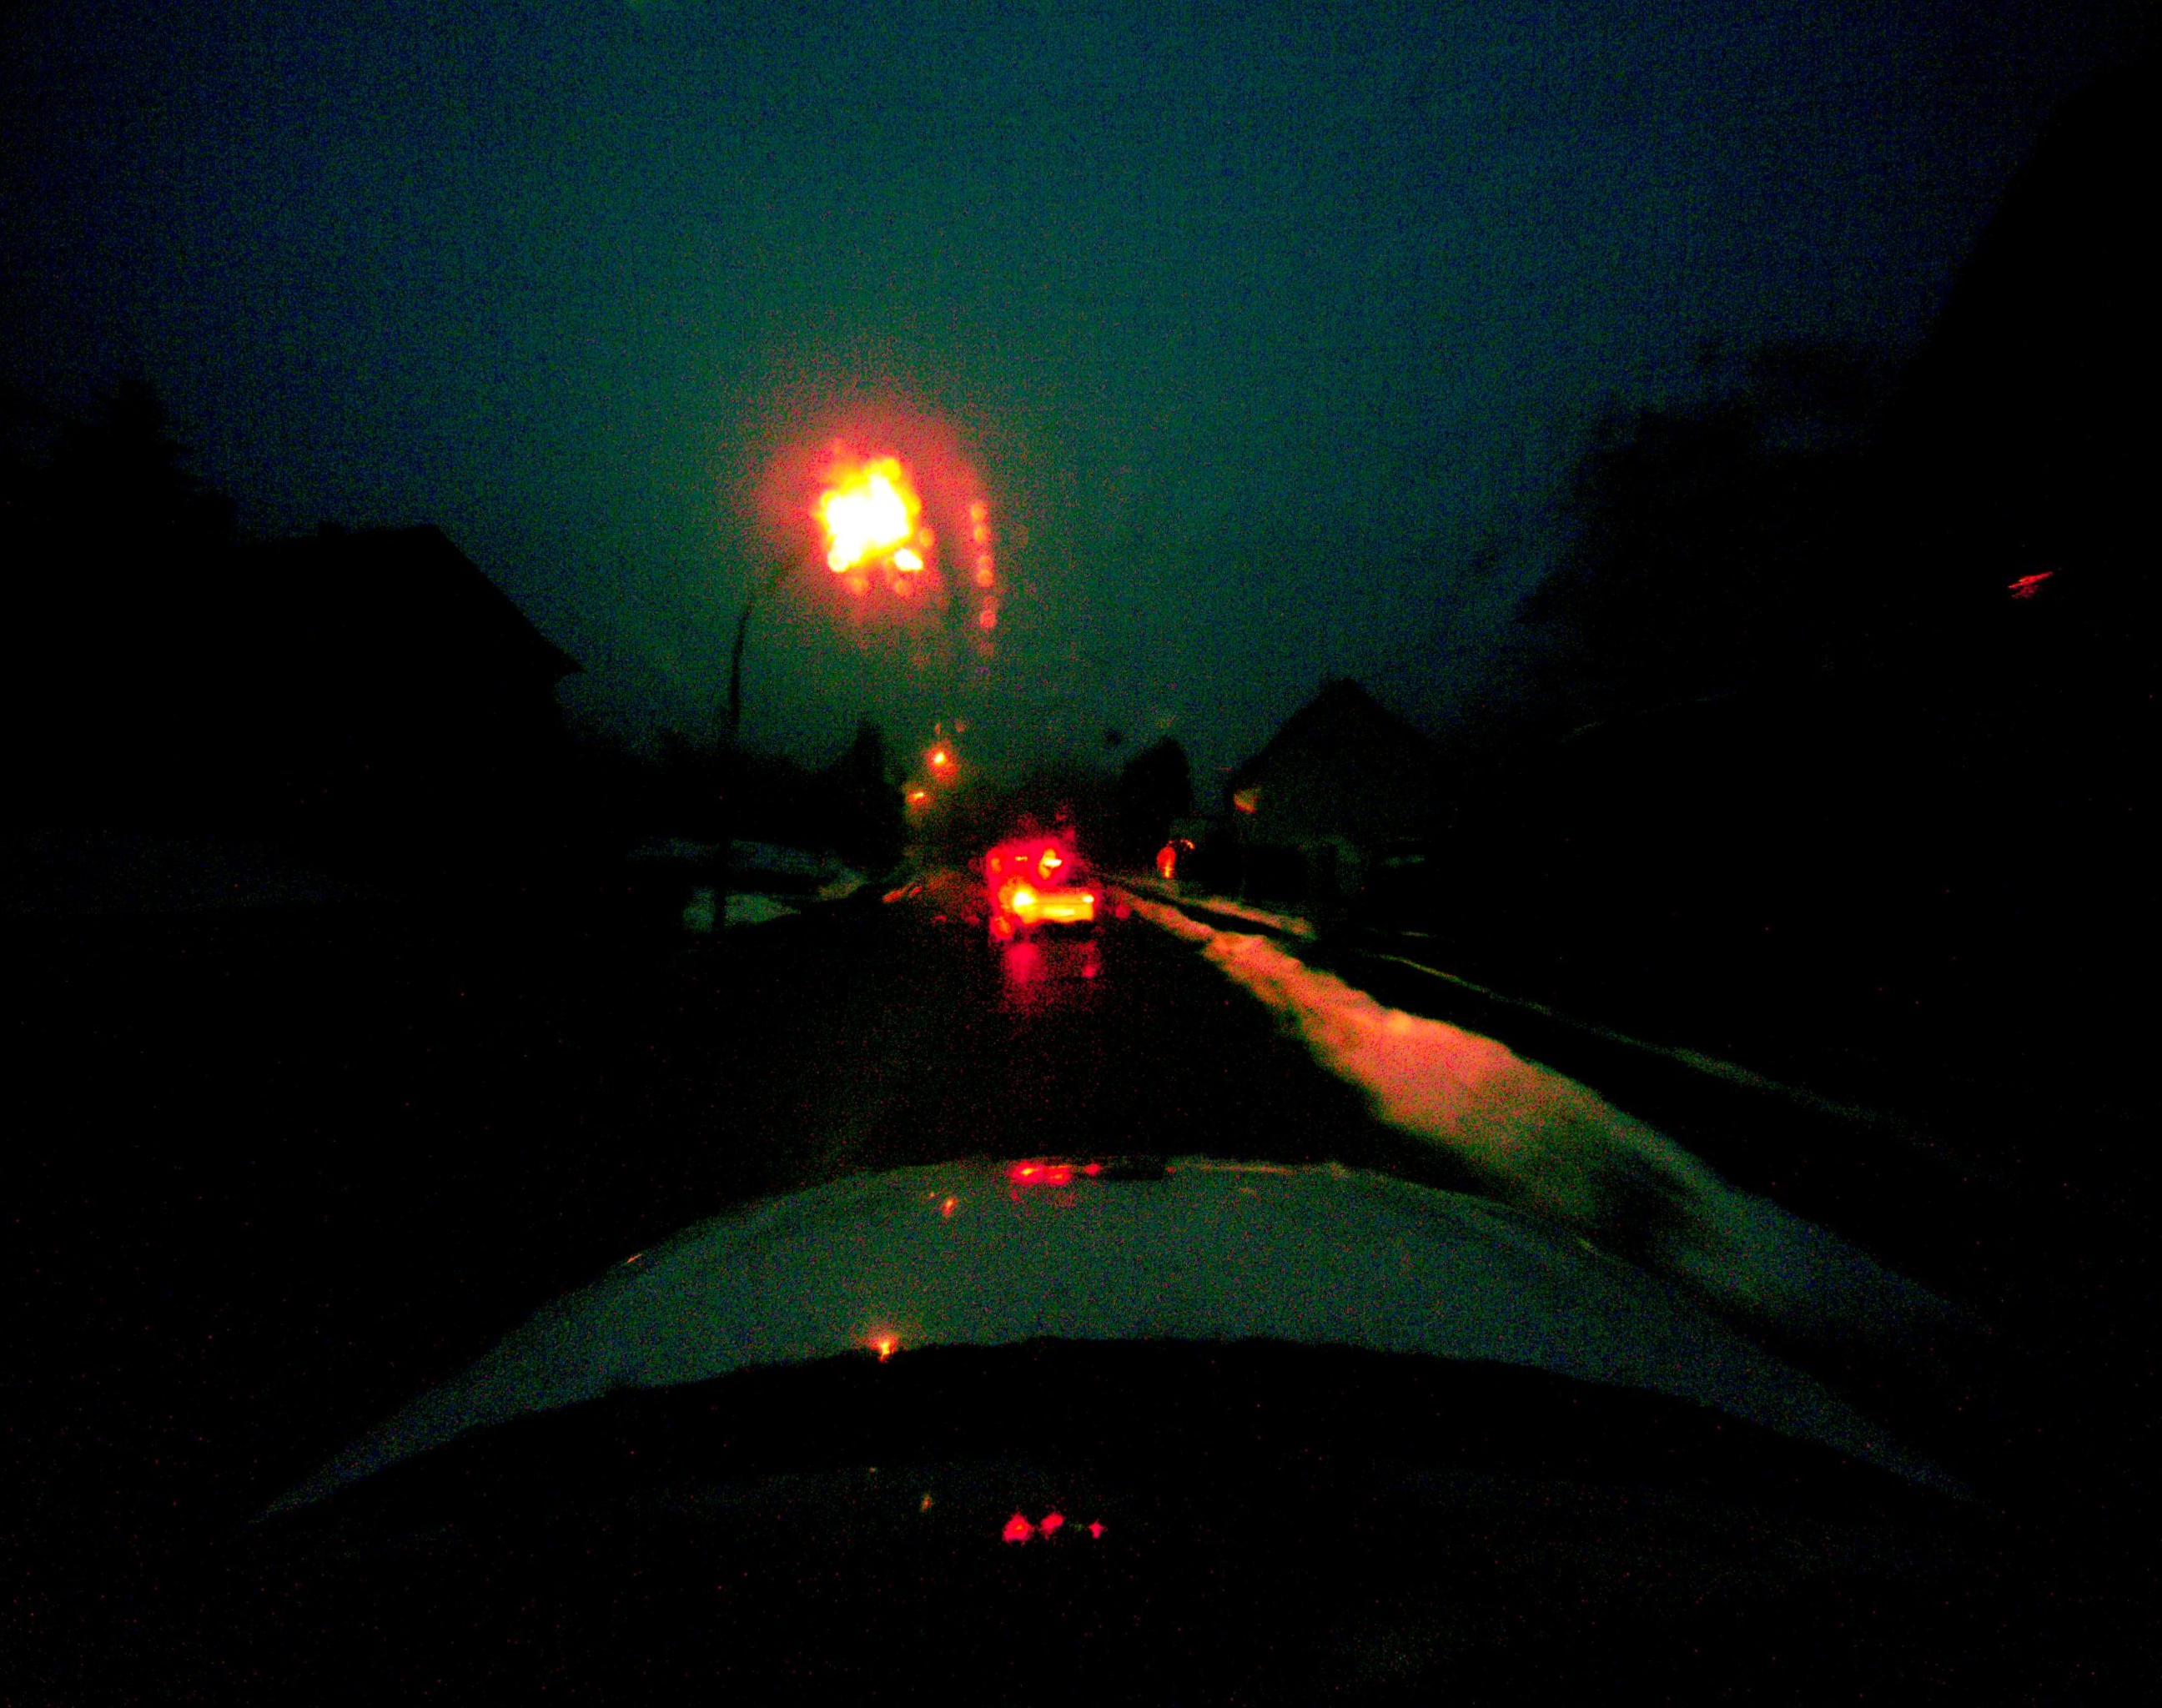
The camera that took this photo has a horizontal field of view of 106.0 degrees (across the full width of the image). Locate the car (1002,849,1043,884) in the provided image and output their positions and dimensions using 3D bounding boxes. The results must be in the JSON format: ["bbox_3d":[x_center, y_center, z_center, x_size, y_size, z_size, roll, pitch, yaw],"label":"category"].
[{"bbox_3d":[-3.123,0.684,42.937,1.991,1.737,3.869,-1,-1,-7],"label":"car"}]

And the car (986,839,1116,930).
[{"bbox_3d":[-0.756,0.587,16.666,1.900,1.609,3.981,0,-1,-14],"label":"car"}]

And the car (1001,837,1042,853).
[{"bbox_3d":[-6.256,-0.925,85.848,4.157,1.559,1.940,-1,-2,-9],"label":"car"}]
